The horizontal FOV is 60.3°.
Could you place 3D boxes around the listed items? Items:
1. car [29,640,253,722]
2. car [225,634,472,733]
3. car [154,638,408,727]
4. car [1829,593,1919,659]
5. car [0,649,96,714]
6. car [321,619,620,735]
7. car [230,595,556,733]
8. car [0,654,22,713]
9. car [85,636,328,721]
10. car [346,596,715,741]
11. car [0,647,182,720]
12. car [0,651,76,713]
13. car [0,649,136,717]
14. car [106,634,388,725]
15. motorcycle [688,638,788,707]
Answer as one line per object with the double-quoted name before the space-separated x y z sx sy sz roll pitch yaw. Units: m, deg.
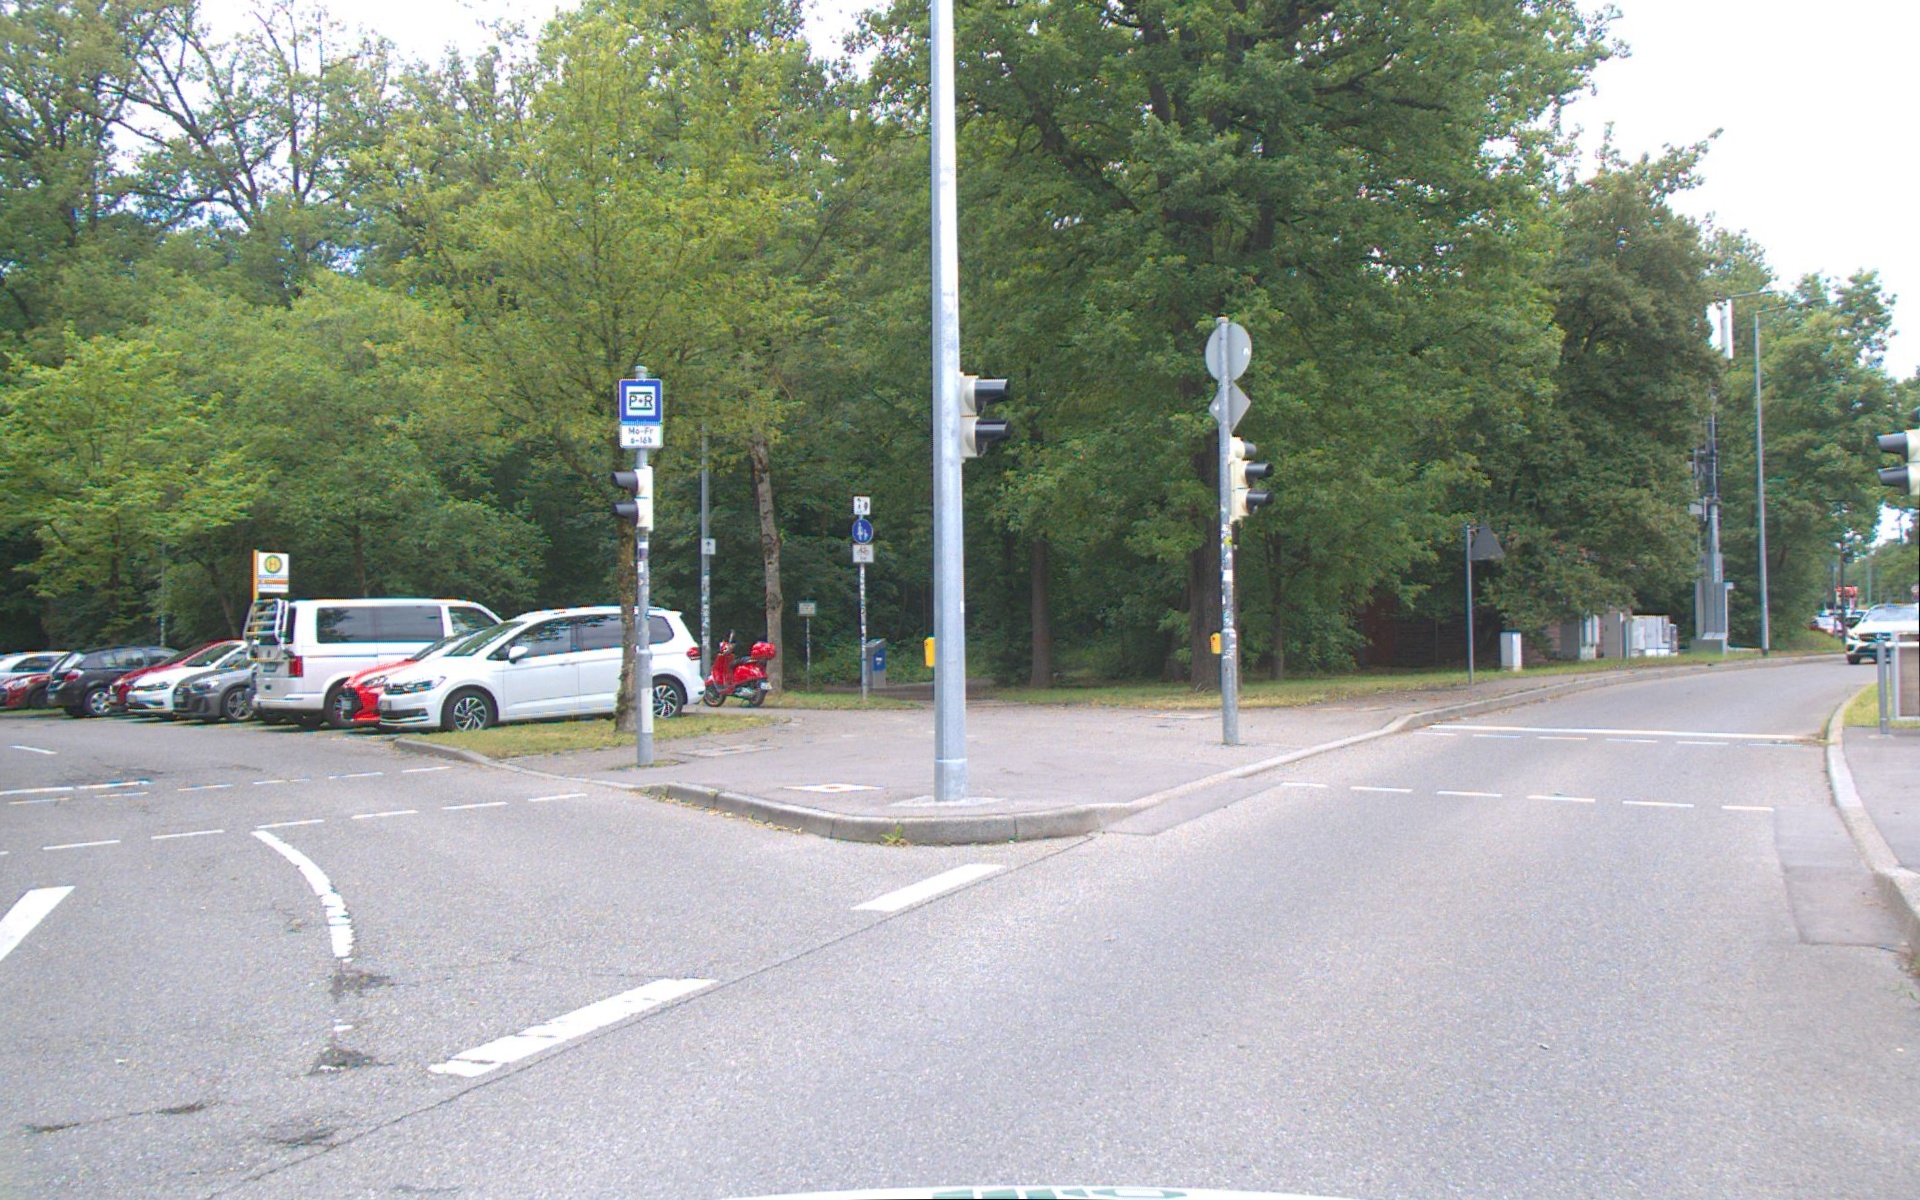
"car" -17.755 1.726 35.950 1.890 1.509 3.972 -4 -1 45
"car" -10.735 1.408 29.157 3.705 1.582 1.817 1 -1 -43
"car" -12.516 1.504 30.598 3.968 1.509 1.847 1 -4 -44
"car" 26.328 0.716 46.972 1.963 1.780 4.553 0 -1 41
"car" -24.750 2.158 42.998 1.719 1.537 3.693 -4 -2 41
"car" -7.367 1.110 25.009 3.964 1.582 1.923 0 -1 -35
"car" -9.173 0.996 26.964 4.623 2.057 2.052 1 -1 -42
"car" -28.354 2.397 45.746 1.913 1.617 3.761 -3 -1 40
"car" -15.657 1.610 34.487 1.887 1.506 4.212 -4 -2 45
"car" -5.933 0.905 23.027 4.485 1.723 2.137 -2 -2 -36
"car" -21.086 1.975 39.653 1.905 1.475 3.978 -4 -1 41
"car" -26.235 2.255 44.610 1.697 1.573 3.837 -4 -1 39
"car" -23.114 2.093 41.318 1.832 1.487 4.114 -4 -2 42
"car" -13.919 1.511 32.474 4.747 1.501 1.824 -2 -1 -42
"motorcycle" -4.017 1.290 29.811 1.976 1.181 0.672 -2 -1 43
